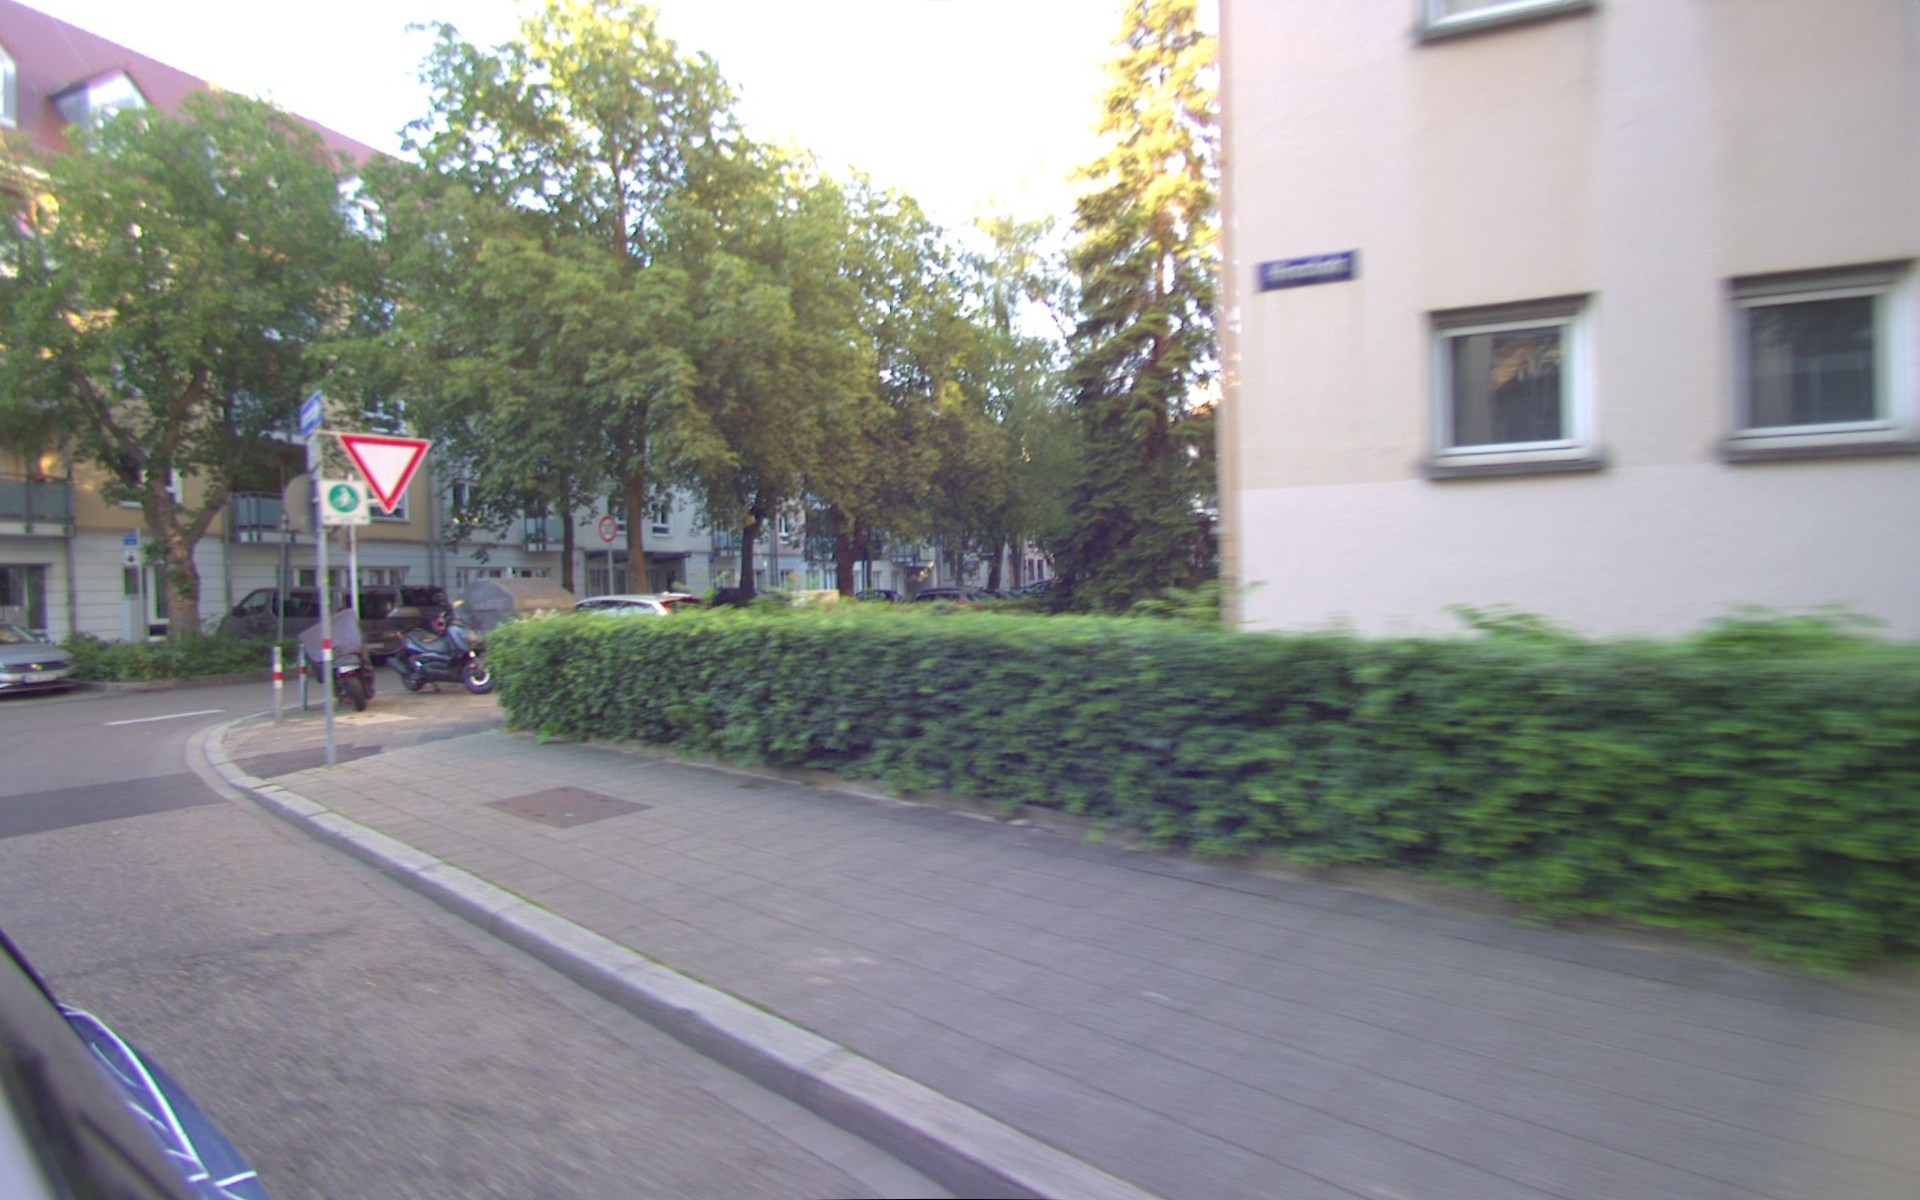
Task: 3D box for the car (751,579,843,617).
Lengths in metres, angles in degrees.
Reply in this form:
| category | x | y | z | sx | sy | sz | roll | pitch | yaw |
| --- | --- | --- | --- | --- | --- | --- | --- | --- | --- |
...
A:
| category | x | y | z | sx | sy | sz | roll | pitch | yaw |
| --- | --- | --- | --- | --- | --- | --- | --- | --- | --- |
| car | -7.841 | -0.125 | 48.690 | 3.975 | 1.741 | 1.984 | 1 | 2 | 24 |

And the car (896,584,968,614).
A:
| category | x | y | z | sx | sy | sz | roll | pitch | yaw |
| --- | --- | --- | --- | --- | --- | --- | --- | --- | --- |
| car | -1.735 | -0.076 | 61.977 | 3.975 | 1.741 | 1.984 | 1 | 2 | 24 |

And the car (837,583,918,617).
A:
| category | x | y | z | sx | sy | sz | roll | pitch | yaw |
| --- | --- | --- | --- | --- | --- | --- | --- | --- | --- |
| car | -4.479 | -0.038 | 55.055 | 3.975 | 1.741 | 1.984 | 1 | 2 | 24 |

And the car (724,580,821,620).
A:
| category | x | y | z | sx | sy | sz | roll | pitch | yaw |
| --- | --- | --- | --- | --- | --- | --- | --- | --- | --- |
| car | -8.609 | -0.050 | 46.400 | 3.975 | 1.741 | 1.984 | 1 | 2 | 24 |

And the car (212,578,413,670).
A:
| category | x | y | z | sx | sy | sz | roll | pitch | yaw |
| --- | --- | --- | --- | --- | --- | --- | --- | --- | --- |
| car | -16.247 | 0.543 | 25.425 | 4.300 | 2.092 | 2.212 | 1 | 1 | 22 |

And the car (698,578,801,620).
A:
| category | x | y | z | sx | sy | sz | roll | pitch | yaw |
| --- | --- | --- | --- | --- | --- | --- | --- | --- | --- |
| car | -9.168 | -0.086 | 44.119 | 3.975 | 1.741 | 1.984 | 1 | 2 | 24 |

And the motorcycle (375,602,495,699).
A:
| category | x | y | z | sx | sy | sz | roll | pitch | yaw |
| --- | --- | --- | --- | --- | --- | --- | --- | --- | --- |
| motorcycle | -8.123 | 0.765 | 15.635 | 1.960 | 1.417 | 0.567 | -1 | 0 | 26 |

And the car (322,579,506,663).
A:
| category | x | y | z | sx | sy | sz | roll | pitch | yaw |
| --- | --- | --- | --- | --- | --- | --- | --- | --- | --- |
| car | -14.885 | 0.525 | 27.630 | 4.300 | 2.092 | 2.212 | 1 | 1 | 22 |

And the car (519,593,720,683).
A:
| category | x | y | z | sx | sy | sz | roll | pitch | yaw |
| --- | --- | --- | --- | --- | --- | --- | --- | --- | --- |
| car | -6.440 | 0.688 | 19.116 | 3.483 | 1.518 | 1.618 | -1 | 1 | 28 |

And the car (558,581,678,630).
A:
| category | x | y | z | sx | sy | sz | roll | pitch | yaw |
| --- | --- | --- | --- | --- | --- | --- | --- | --- | --- |
| car | -12.679 | 0.166 | 37.536 | 3.975 | 1.741 | 1.984 | 1 | 2 | 24 |

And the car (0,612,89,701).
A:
| category | x | y | z | sx | sy | sz | roll | pitch | yaw |
| --- | --- | --- | --- | --- | --- | --- | --- | --- | --- |
| car | -18.899 | 1.008 | 19.236 | 4.300 | 1.479 | 1.814 | 1 | 1 | 22 |

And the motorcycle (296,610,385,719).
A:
| category | x | y | z | sx | sy | sz | roll | pitch | yaw |
| --- | --- | --- | --- | --- | --- | --- | --- | --- | --- |
| motorcycle | -8.571 | 0.833 | 13.964 | 0.845 | 1.363 | 1.963 | -2 | 0 | -37 |
